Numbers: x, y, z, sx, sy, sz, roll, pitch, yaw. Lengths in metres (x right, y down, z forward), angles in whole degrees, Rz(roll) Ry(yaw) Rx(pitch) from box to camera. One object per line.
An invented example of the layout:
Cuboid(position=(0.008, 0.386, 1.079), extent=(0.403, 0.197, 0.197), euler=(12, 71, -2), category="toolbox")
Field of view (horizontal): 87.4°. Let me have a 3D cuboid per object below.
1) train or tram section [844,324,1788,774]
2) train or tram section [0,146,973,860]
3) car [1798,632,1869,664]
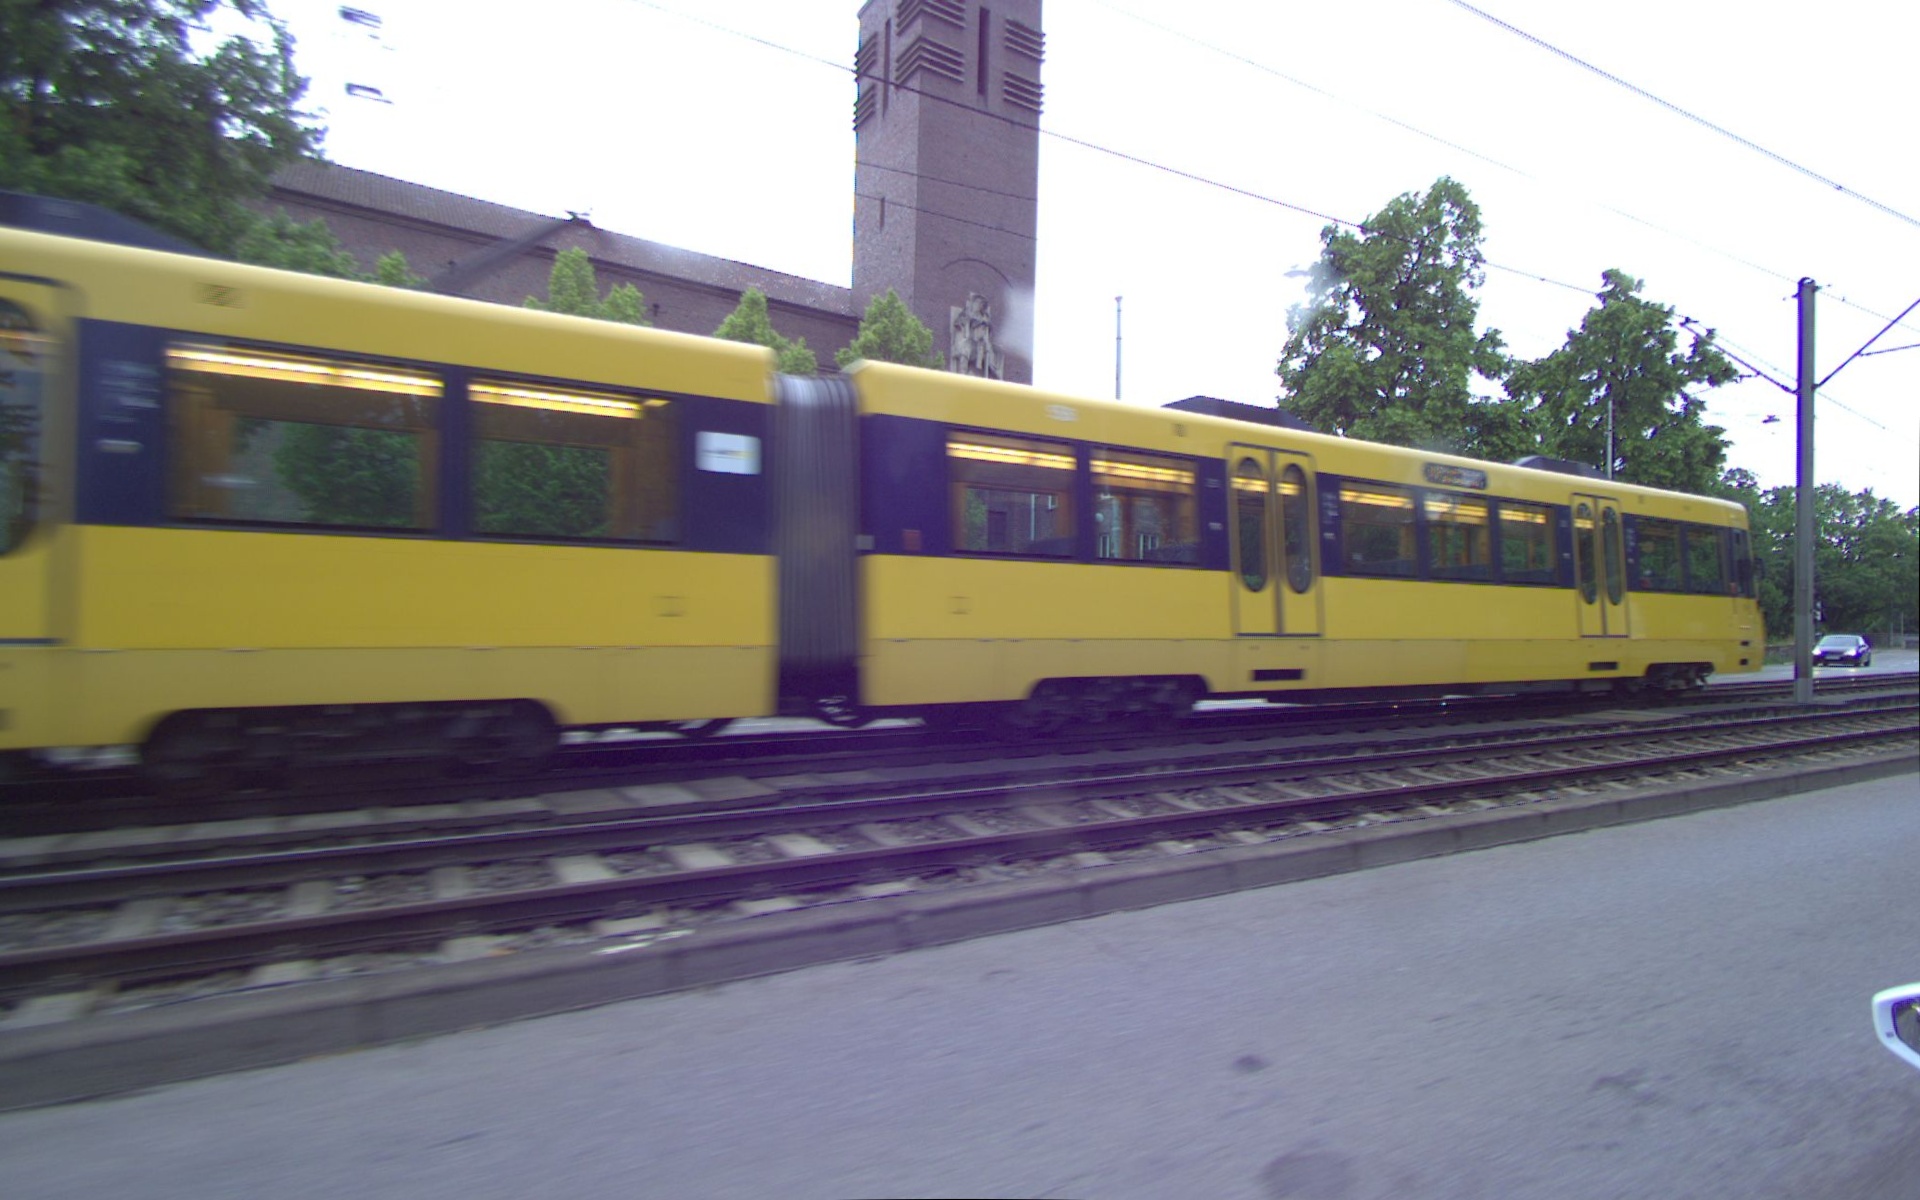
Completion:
Cuboid(position=(6.897, -0.282, 14.884), extent=(17.676, 4.028, 2.813), euler=(1, -2, -32), category="train or tram section")
Cuboid(position=(-9.091, -0.581, 5.115), extent=(19.794, 4.028, 2.815), euler=(1, -2, -31), category="train or tram section")
Cuboid(position=(41.243, 2.263, 47.395), extent=(4.289, 1.460, 1.948), euler=(2, -4, -42), category="car")
